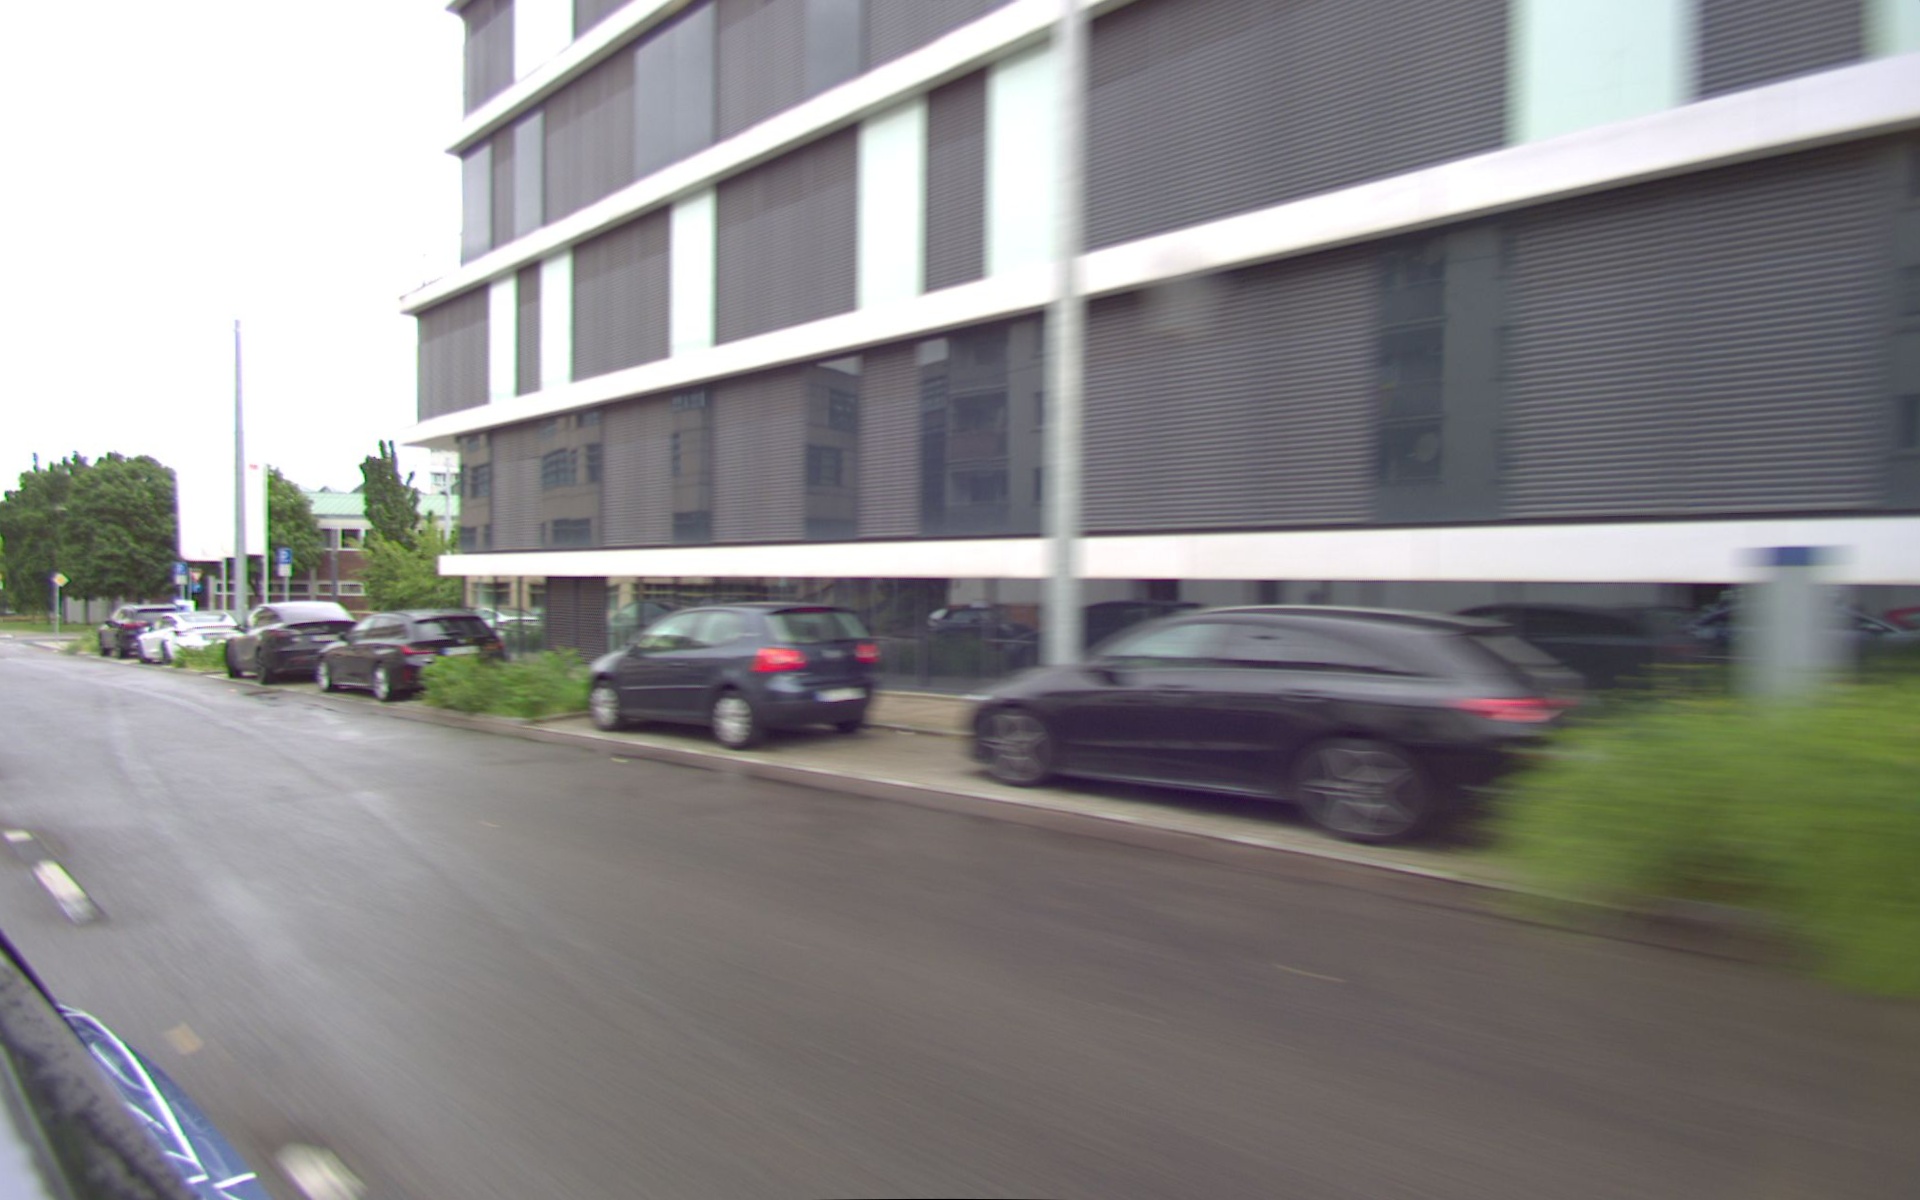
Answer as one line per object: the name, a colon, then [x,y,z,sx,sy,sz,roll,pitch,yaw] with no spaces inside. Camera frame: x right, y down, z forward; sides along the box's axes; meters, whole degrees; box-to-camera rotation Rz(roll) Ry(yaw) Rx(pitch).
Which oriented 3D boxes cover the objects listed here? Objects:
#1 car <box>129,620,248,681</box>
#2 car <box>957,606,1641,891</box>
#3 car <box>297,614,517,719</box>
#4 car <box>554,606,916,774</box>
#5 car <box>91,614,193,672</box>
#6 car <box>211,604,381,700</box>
car: [-21.506,1.349,28.146,4.400,1.429,1.802,0,2,41]
car: [2.224,0.784,7.397,4.390,1.406,1.818,0,2,41]
car: [-9.733,1.042,17.639,4.739,1.483,1.852,0,2,41]
car: [-2.717,0.857,11.642,4.345,1.500,1.843,0,2,41]
car: [-26.493,1.335,32.723,4.489,1.629,1.830,0,2,41]
car: [-14.325,0.995,21.696,4.943,1.763,1.941,0,2,44]
